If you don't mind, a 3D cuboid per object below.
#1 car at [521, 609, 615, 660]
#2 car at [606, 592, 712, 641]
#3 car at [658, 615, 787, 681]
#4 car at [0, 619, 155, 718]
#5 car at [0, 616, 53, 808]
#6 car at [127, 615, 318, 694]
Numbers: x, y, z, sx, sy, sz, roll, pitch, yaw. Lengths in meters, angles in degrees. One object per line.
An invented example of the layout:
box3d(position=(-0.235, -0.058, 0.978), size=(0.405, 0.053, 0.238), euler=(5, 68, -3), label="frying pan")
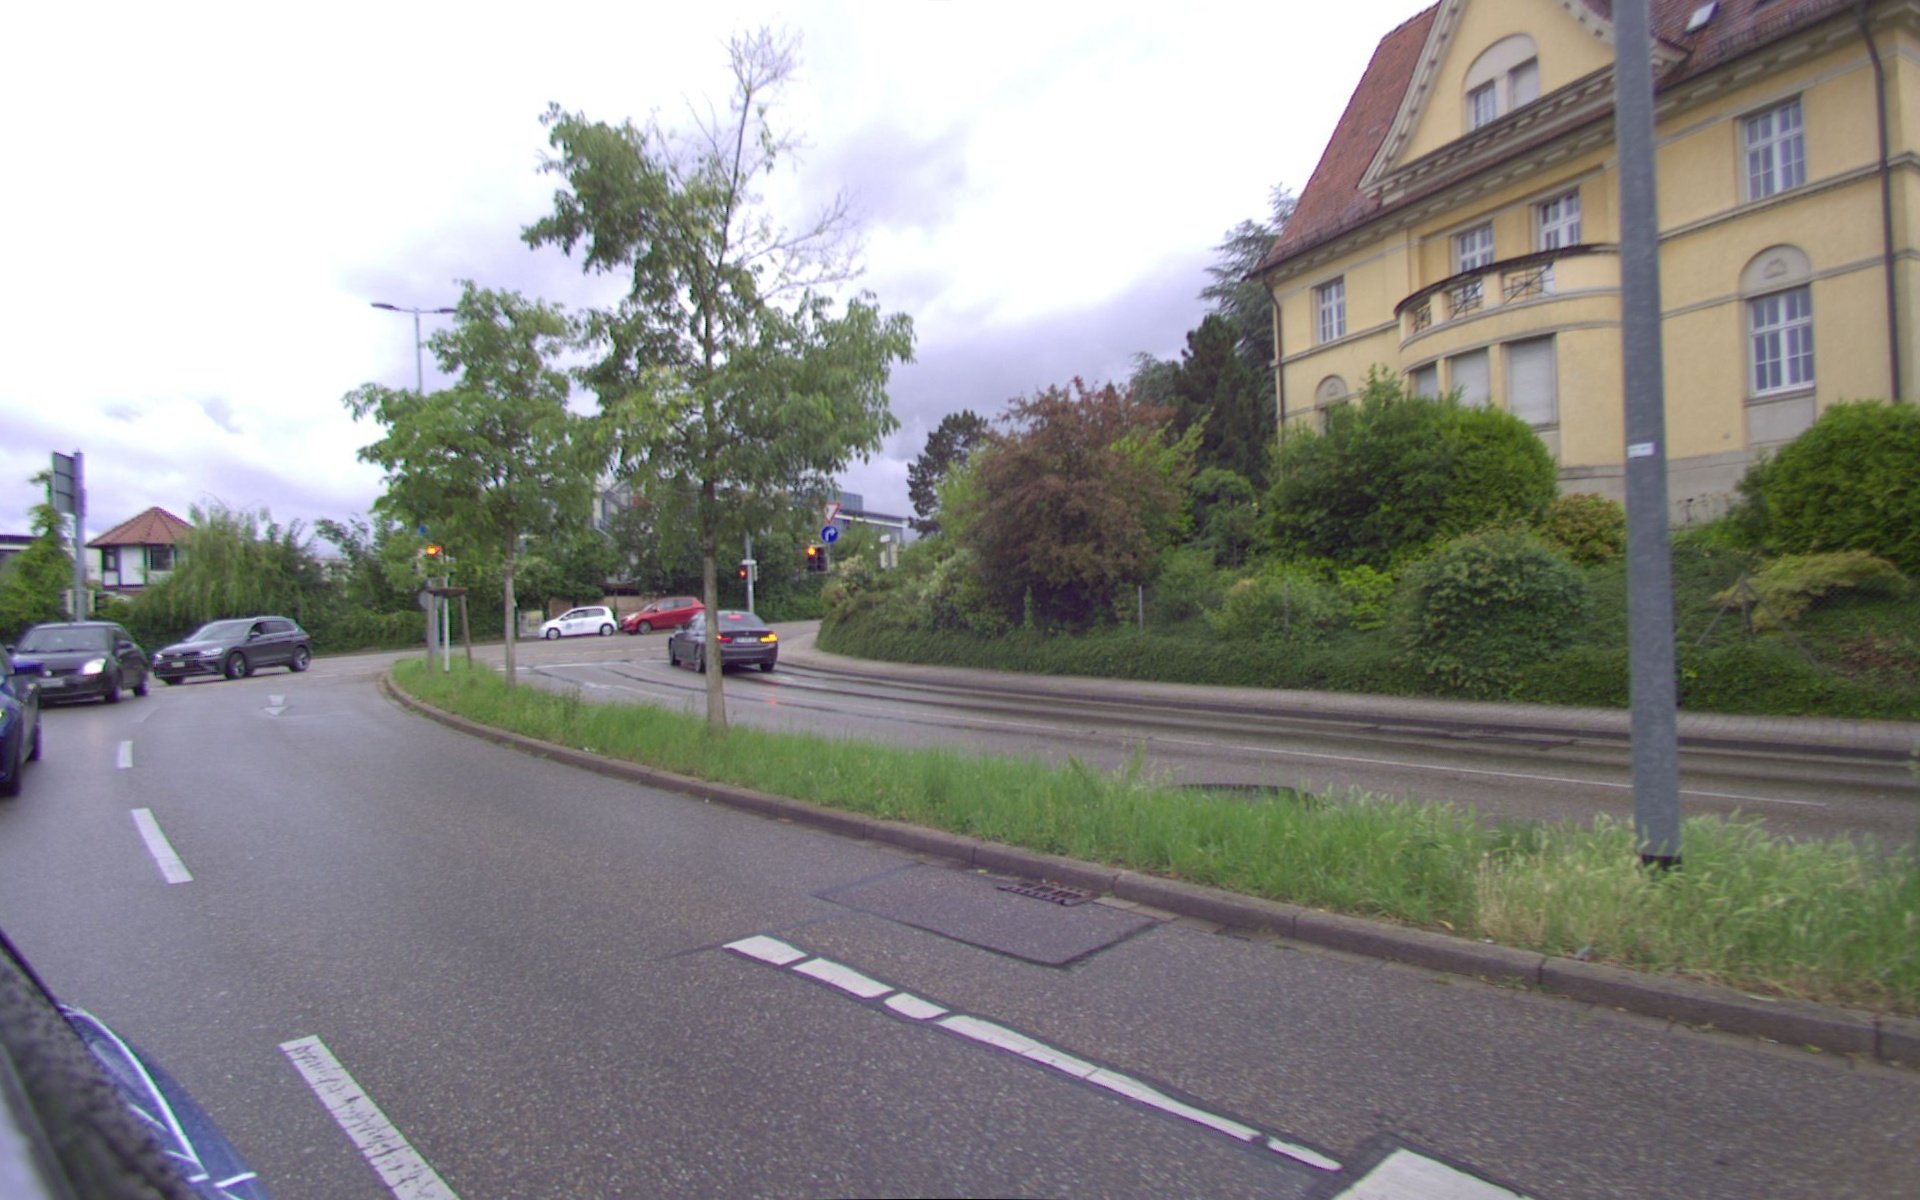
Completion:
box3d(position=(-18.656, 1.635, 48.135), size=(3.932, 2.028, 2.006), euler=(-5, 0, -25), label="car")
box3d(position=(-12.906, 0.697, 43.451), size=(3.933, 1.739, 1.874), euler=(-5, 0, -32), label="car")
box3d(position=(-5.946, 1.149, 24.896), size=(1.965, 1.448, 4.562), euler=(-1, -2, -28), label="car")
box3d(position=(-16.486, 1.233, 18.778), size=(1.718, 1.530, 4.012), euler=(-5, 0, -29), label="car")
box3d(position=(-9.600, 0.942, 9.080), size=(1.884, 1.507, 4.357), euler=(-2, 0, -39), label="car")
box3d(position=(-20.081, 1.411, 27.815), size=(1.942, 1.763, 4.306), euler=(-5, 0, 1), label="car")
